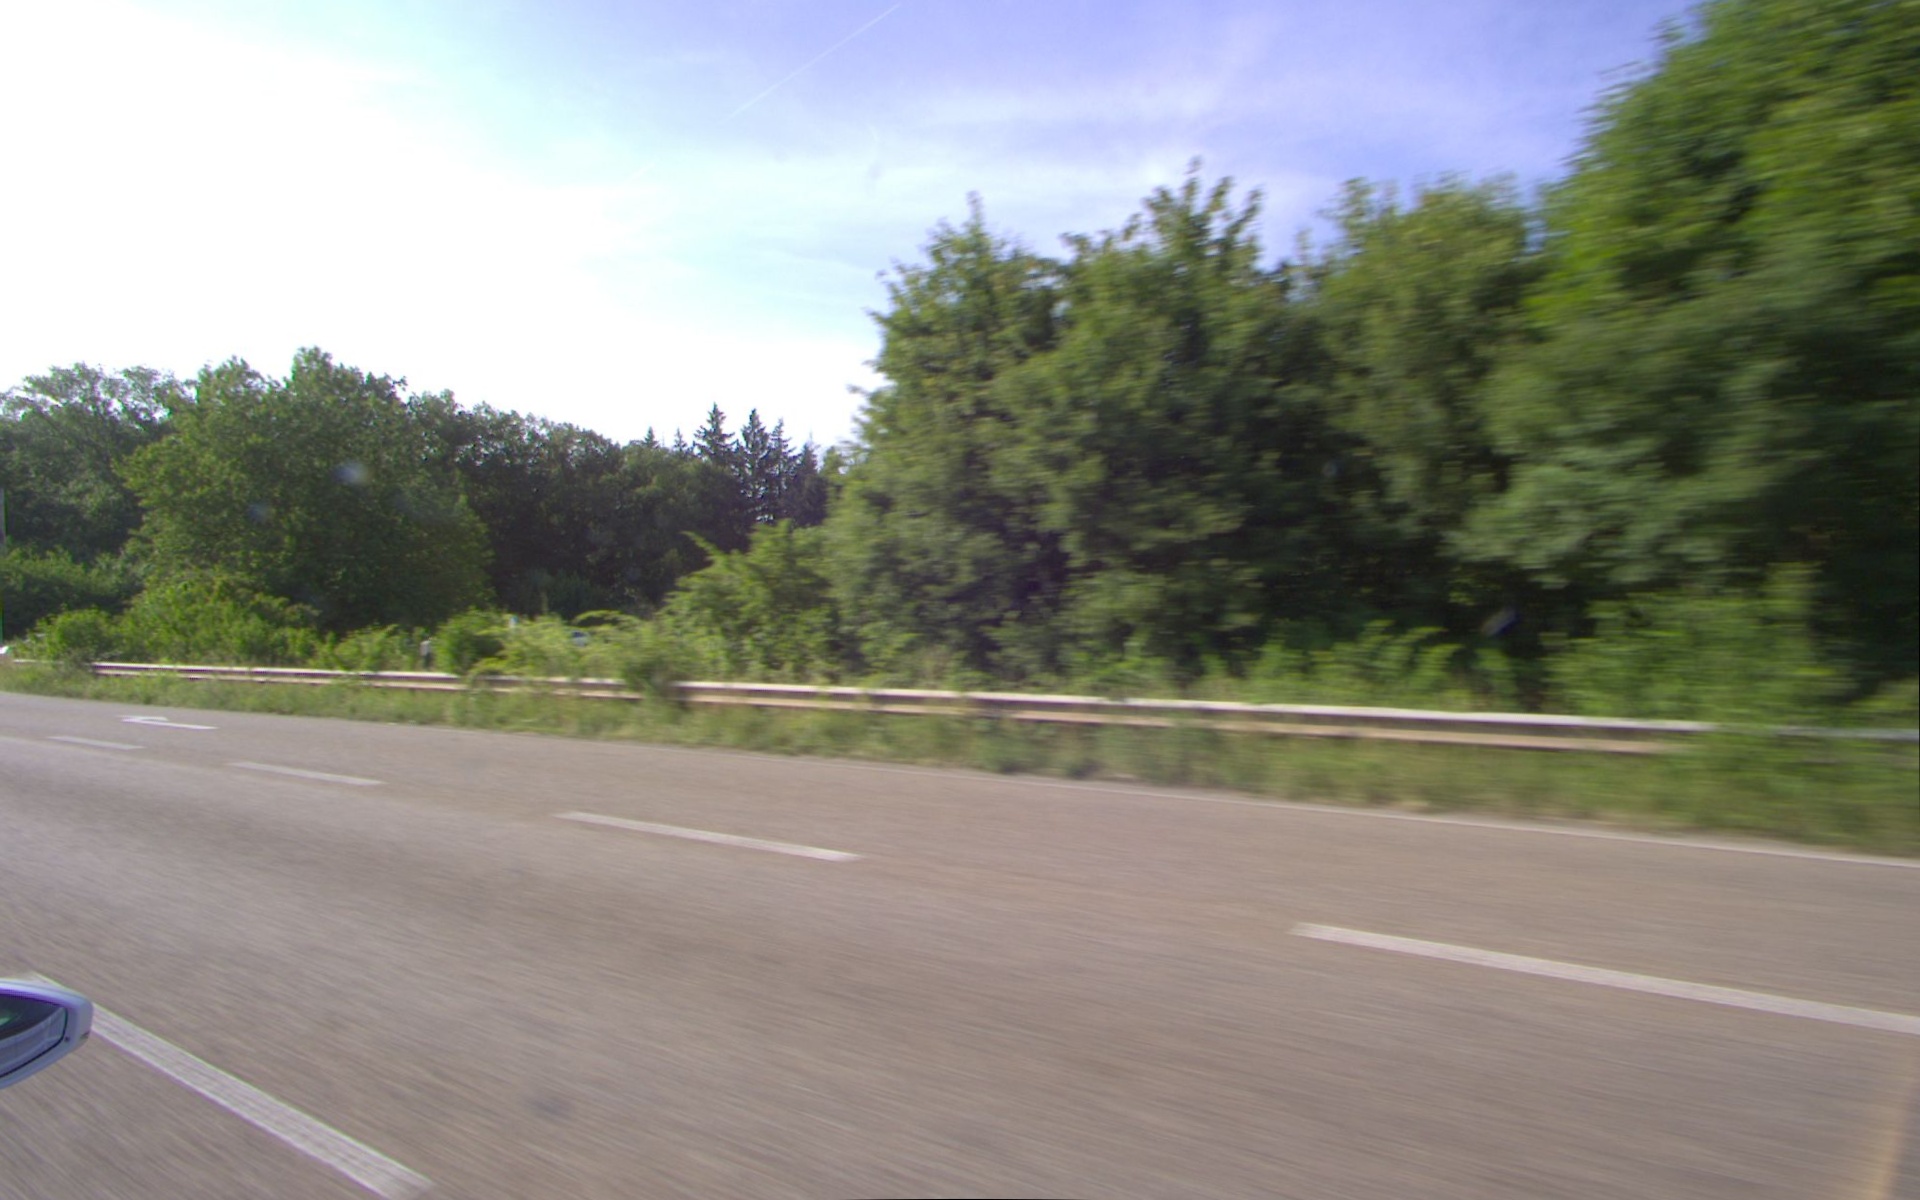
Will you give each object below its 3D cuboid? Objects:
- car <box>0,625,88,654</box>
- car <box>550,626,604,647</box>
[{"bbox_3d":[-50.499,2.159,55.067,1.785,1.523,3.585,-1,-1,37],"label":"car"},{"bbox_3d":[-30.284,2.868,79.206,1.787,1.523,3.583,-1,-1,39],"label":"car"}]
